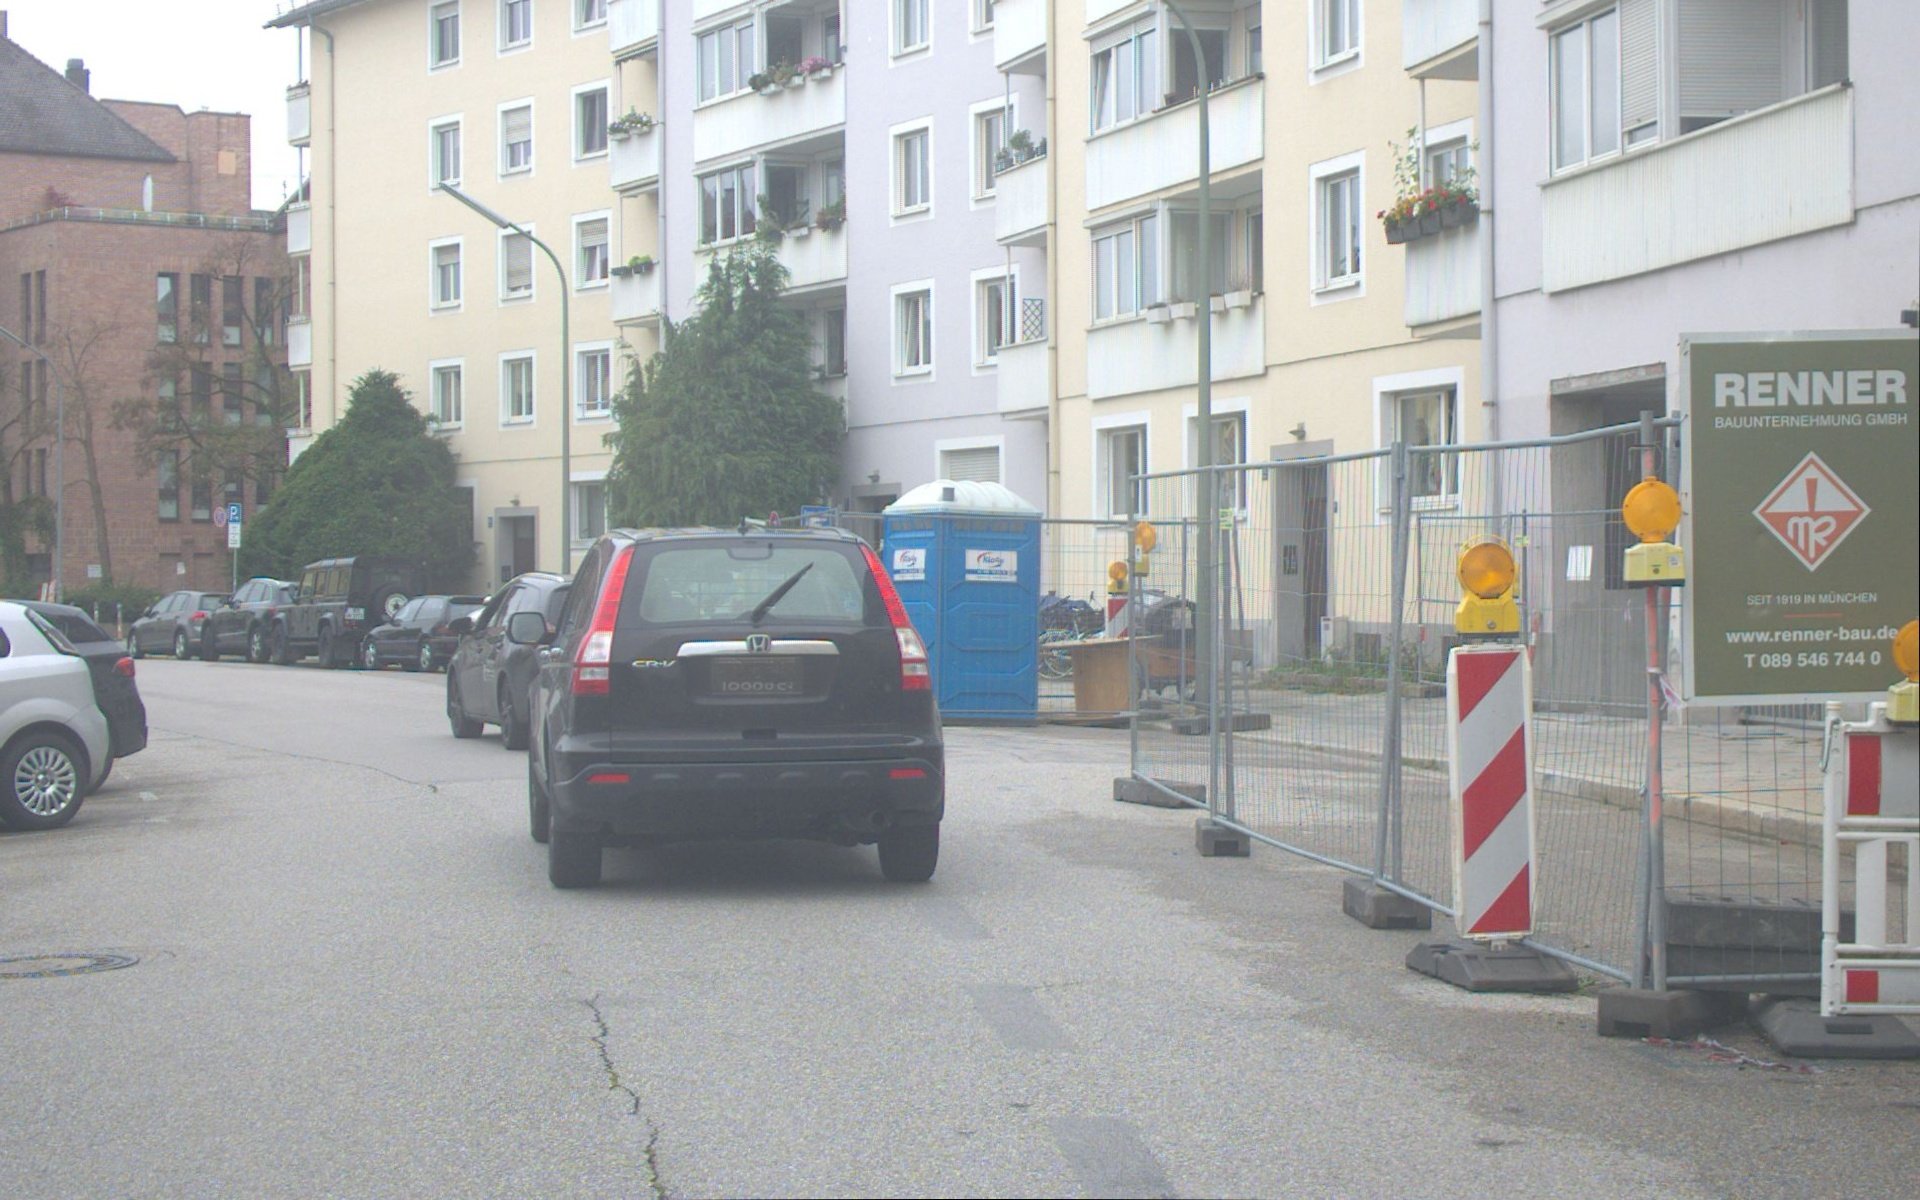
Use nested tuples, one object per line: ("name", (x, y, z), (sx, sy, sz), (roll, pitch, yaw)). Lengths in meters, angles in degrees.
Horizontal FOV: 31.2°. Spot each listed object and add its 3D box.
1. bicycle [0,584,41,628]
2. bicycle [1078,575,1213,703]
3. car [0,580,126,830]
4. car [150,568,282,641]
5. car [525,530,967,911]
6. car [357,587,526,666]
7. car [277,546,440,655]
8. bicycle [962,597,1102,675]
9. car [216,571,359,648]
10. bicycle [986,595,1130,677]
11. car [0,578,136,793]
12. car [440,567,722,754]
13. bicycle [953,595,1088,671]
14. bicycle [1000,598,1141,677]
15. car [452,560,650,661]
("bicycle", (-27.781, 0.173, 100.373), (1.753, 1.284, 0.553), (0, 0, -24))
("bicycle", (2.076, 0.423, 38.837), (0.968, 1.384, 2.564), (0, 1, -10))
("car", (-7.263, 0.750, 20.514), (4.076, 1.476, 1.683), (-4, 0, -44))
("car", (-15.122, 0.079, 69.772), (1.697, 1.384, 3.602), (0, 1, -28))
("car", (-1.174, 0.502, 16.930), (1.890, 1.642, 3.992), (0, 1, -8))
("car", (-8.754, 0.423, 57.866), (1.697, 1.232, 3.602), (0, 1, -28))
("car", (-10.863, -0.009, 61.918), (1.724, 1.871, 4.001), (0, 1, -28))
("bicycle", (1.009, 0.500, 48.307), (1.865, 1.087, 0.646), (0, 0, -16))
("car", (-12.919, 0.166, 65.916), (1.697, 1.384, 3.602), (0, 1, -28))
("bicycle", (1.331, 0.485, 46.662), (1.865, 1.087, 0.566), (0, 0, -16))
("car", (-7.923, 0.594, 23.679), (4.075, 1.476, 1.684), (0, 1, -43))
("car", (-3.304, 0.457, 29.337), (1.678, 1.476, 4.088), (0, 1, -17))
("bicycle", (0.885, 0.479, 50.357), (1.865, 1.087, 0.646), (0, 0, -16))
("bicycle", (1.534, 0.513, 47.636), (1.865, 1.087, 0.566), (0, 0, -16))
("car", (-6.429, 0.145, 53.708), (1.724, 1.478, 4.001), (0, 1, -28))
